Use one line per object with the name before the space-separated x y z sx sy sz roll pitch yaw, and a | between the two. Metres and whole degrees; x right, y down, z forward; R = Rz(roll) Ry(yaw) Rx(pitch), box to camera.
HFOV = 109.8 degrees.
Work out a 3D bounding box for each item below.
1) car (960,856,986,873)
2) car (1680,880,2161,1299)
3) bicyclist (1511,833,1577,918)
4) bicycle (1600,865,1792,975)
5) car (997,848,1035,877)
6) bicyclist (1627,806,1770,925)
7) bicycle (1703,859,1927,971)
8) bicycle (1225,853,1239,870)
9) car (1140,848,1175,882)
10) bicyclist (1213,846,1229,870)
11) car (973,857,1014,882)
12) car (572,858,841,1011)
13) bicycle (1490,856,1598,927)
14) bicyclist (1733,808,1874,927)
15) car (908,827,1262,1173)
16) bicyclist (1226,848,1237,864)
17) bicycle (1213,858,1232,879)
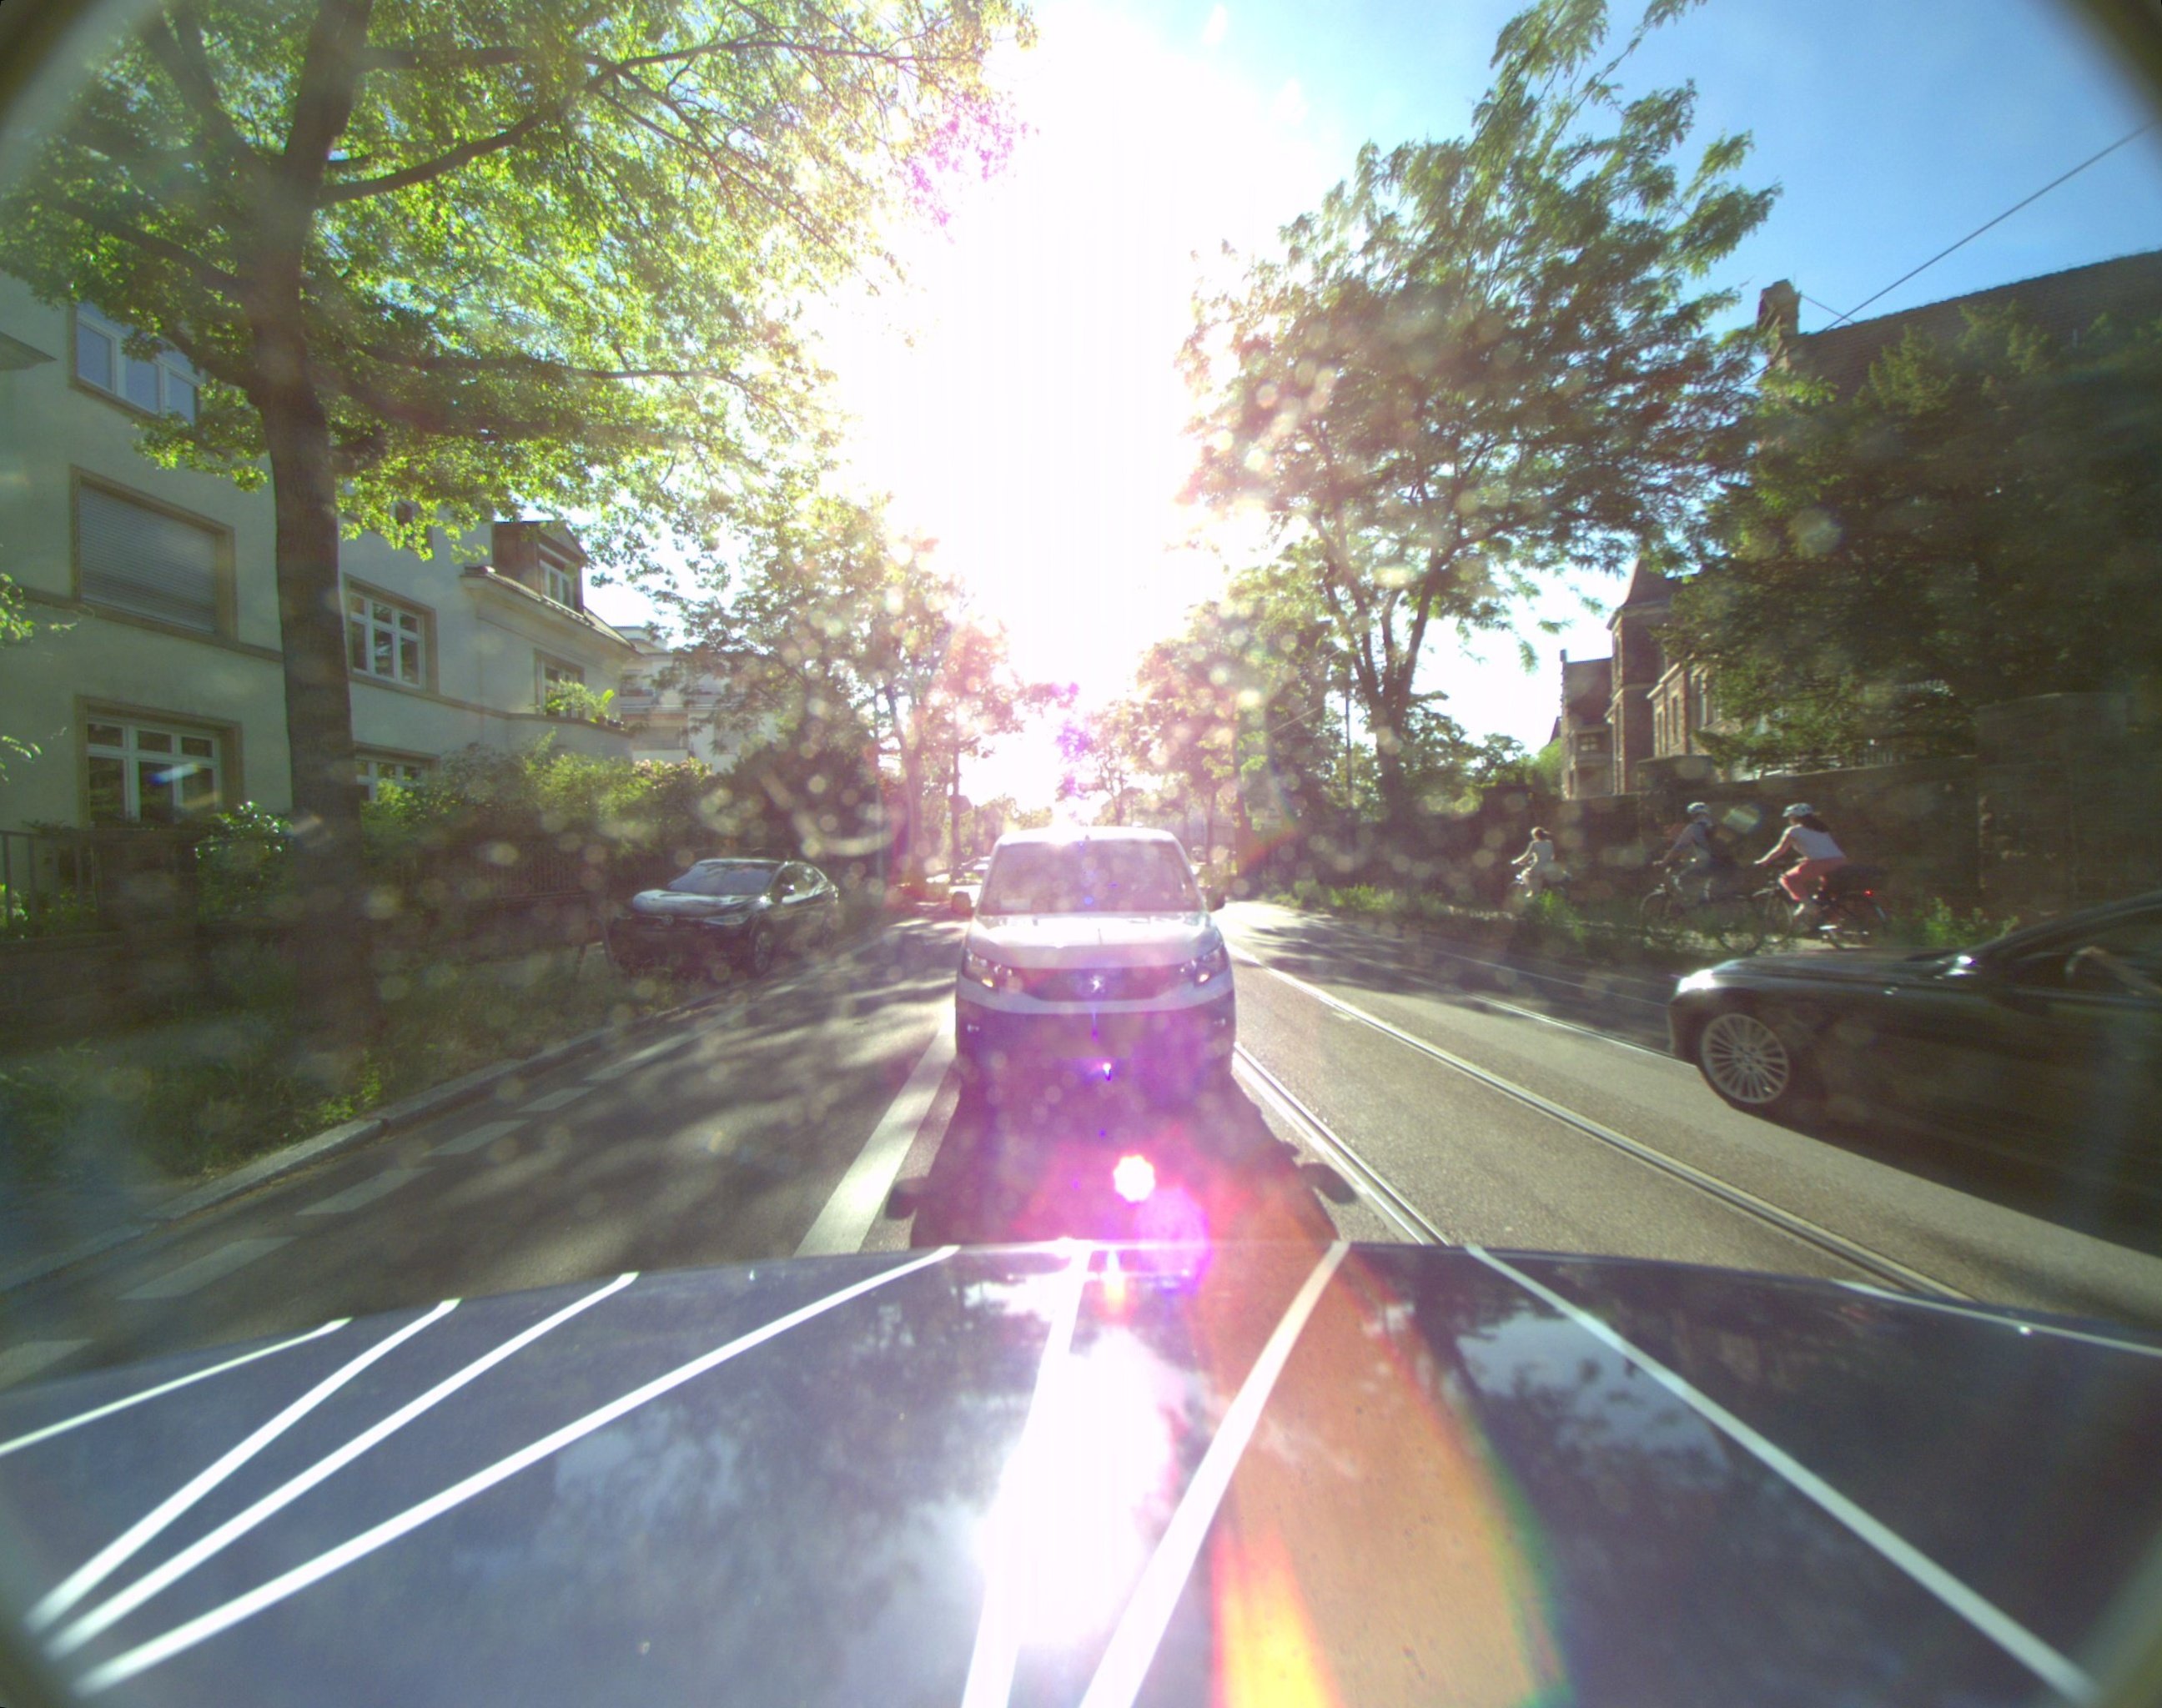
car | -10.022 0.931 70.665 1.741 1.434 3.999 -2 1 1
car | 4.849 0.900 2.652 1.741 1.414 4.256 -2 0 -10
bicyclist | 8.609 0.389 14.148 0.744 1.526 0.751 -2 1 1
bicycle | 7.802 0.776 9.805 0.774 1.184 2.102 -2 1 1
car | -4.377 0.531 51.642 1.904 1.819 4.248 -2 1 3
bicyclist | 7.779 0.133 9.650 0.768 1.383 1.272 -2 1 1
bicycle | 9.023 0.686 9.492 0.733 1.184 2.087 -2 1 -1
bicycle | 10.635 0.536 53.612 0.684 1.106 1.738 -2 1 20
car | 4.303 0.591 43.040 1.831 1.800 4.001 -1 1 4
bicyclist | 7.608 0.208 41.177 0.684 1.277 0.871 -2 1 1
car | -5.163 0.889 45.276 1.719 1.332 3.918 -2 1 3
car | -5.263 1.004 11.451 1.999 1.733 4.169 -2 1 -2
bicycle | 8.623 0.663 14.280 0.747 1.184 2.088 -2 1 1
bicyclist | 9.000 0.156 9.517 0.734 1.383 1.060 -2 1 -1
car | -0.010 0.754 6.208 1.832 1.788 4.333 -2 1 -1
bicyclist | 10.622 0.143 53.608 0.684 1.106 0.695 -2 1 20
bicycle | 7.631 0.791 41.142 0.684 1.072 1.736 -2 1 1
